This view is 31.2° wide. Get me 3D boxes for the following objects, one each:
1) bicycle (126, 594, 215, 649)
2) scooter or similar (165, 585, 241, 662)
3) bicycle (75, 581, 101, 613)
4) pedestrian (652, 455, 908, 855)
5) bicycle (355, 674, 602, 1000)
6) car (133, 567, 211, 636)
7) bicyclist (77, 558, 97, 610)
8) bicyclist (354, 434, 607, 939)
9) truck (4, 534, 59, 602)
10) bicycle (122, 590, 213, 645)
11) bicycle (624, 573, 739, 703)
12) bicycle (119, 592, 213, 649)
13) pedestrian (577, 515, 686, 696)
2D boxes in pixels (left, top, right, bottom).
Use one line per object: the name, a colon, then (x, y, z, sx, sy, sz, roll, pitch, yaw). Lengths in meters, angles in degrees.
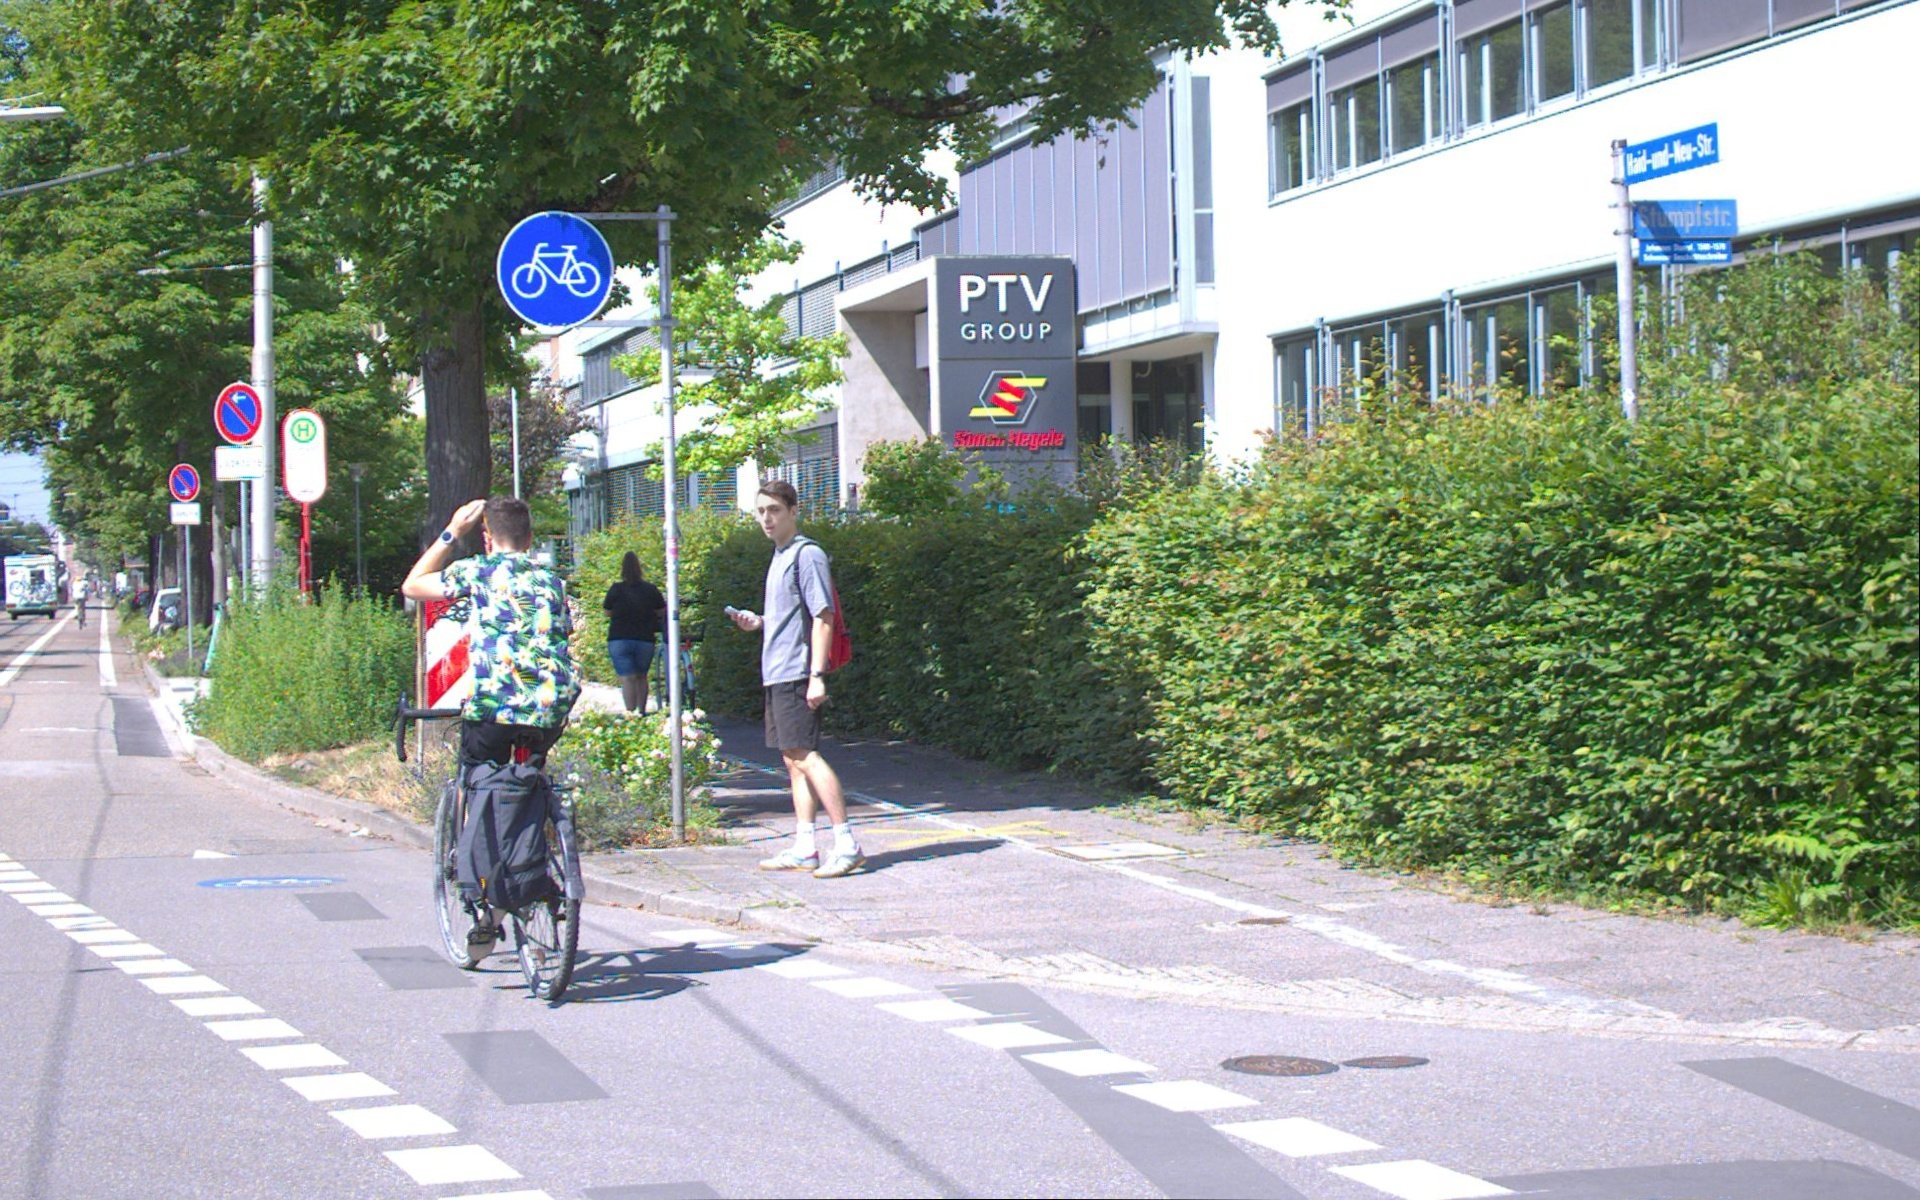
bicycle: (-16.216, 0.440, 70.596, 1.724, 1.082, 0.640, -2, 1, -15)
scooter or similar: (-11.883, 0.363, 53.955, 1.125, 1.162, 0.676, -2, 1, -12)
bicycle: (-31.724, -0.116, 125.057, 0.855, 1.106, 2.140, -1, 1, -15)
pedestrian: (-0.865, 0.239, 16.272, 0.889, 1.811, 1.074, -1, 1, -21)
bicycle: (-1.758, 0.795, 12.303, 0.608, 0.980, 2.165, -1, 1, -15)
car: (-17.694, 0.017, 77.119, 1.629, 1.467, 3.631, -1, 1, -13)
bicyclist: (-31.760, -0.585, 125.085, 0.636, 1.865, 1.024, -2, 1, -15)
bicyclist: (-1.732, 0.286, 12.312, 0.716, 1.718, 0.988, -1, 1, -17)
truck: (-43.787, -1.497, 162.288, 2.402, 3.098, 6.039, -1, 1, -15)
bicycle: (-16.474, 0.364, 71.445, 1.792, 1.082, 0.727, -2, 1, -15)
bicycle: (-2.500, 0.322, 30.669, 0.636, 1.114, 2.067, -1, 1, -15)
bicycle: (-16.621, 0.433, 71.954, 1.848, 1.128, 0.681, -2, 1, -15)
pedestrian: (-2.941, 0.043, 30.710, 0.686, 1.558, 0.989, -3, 1, -19)
